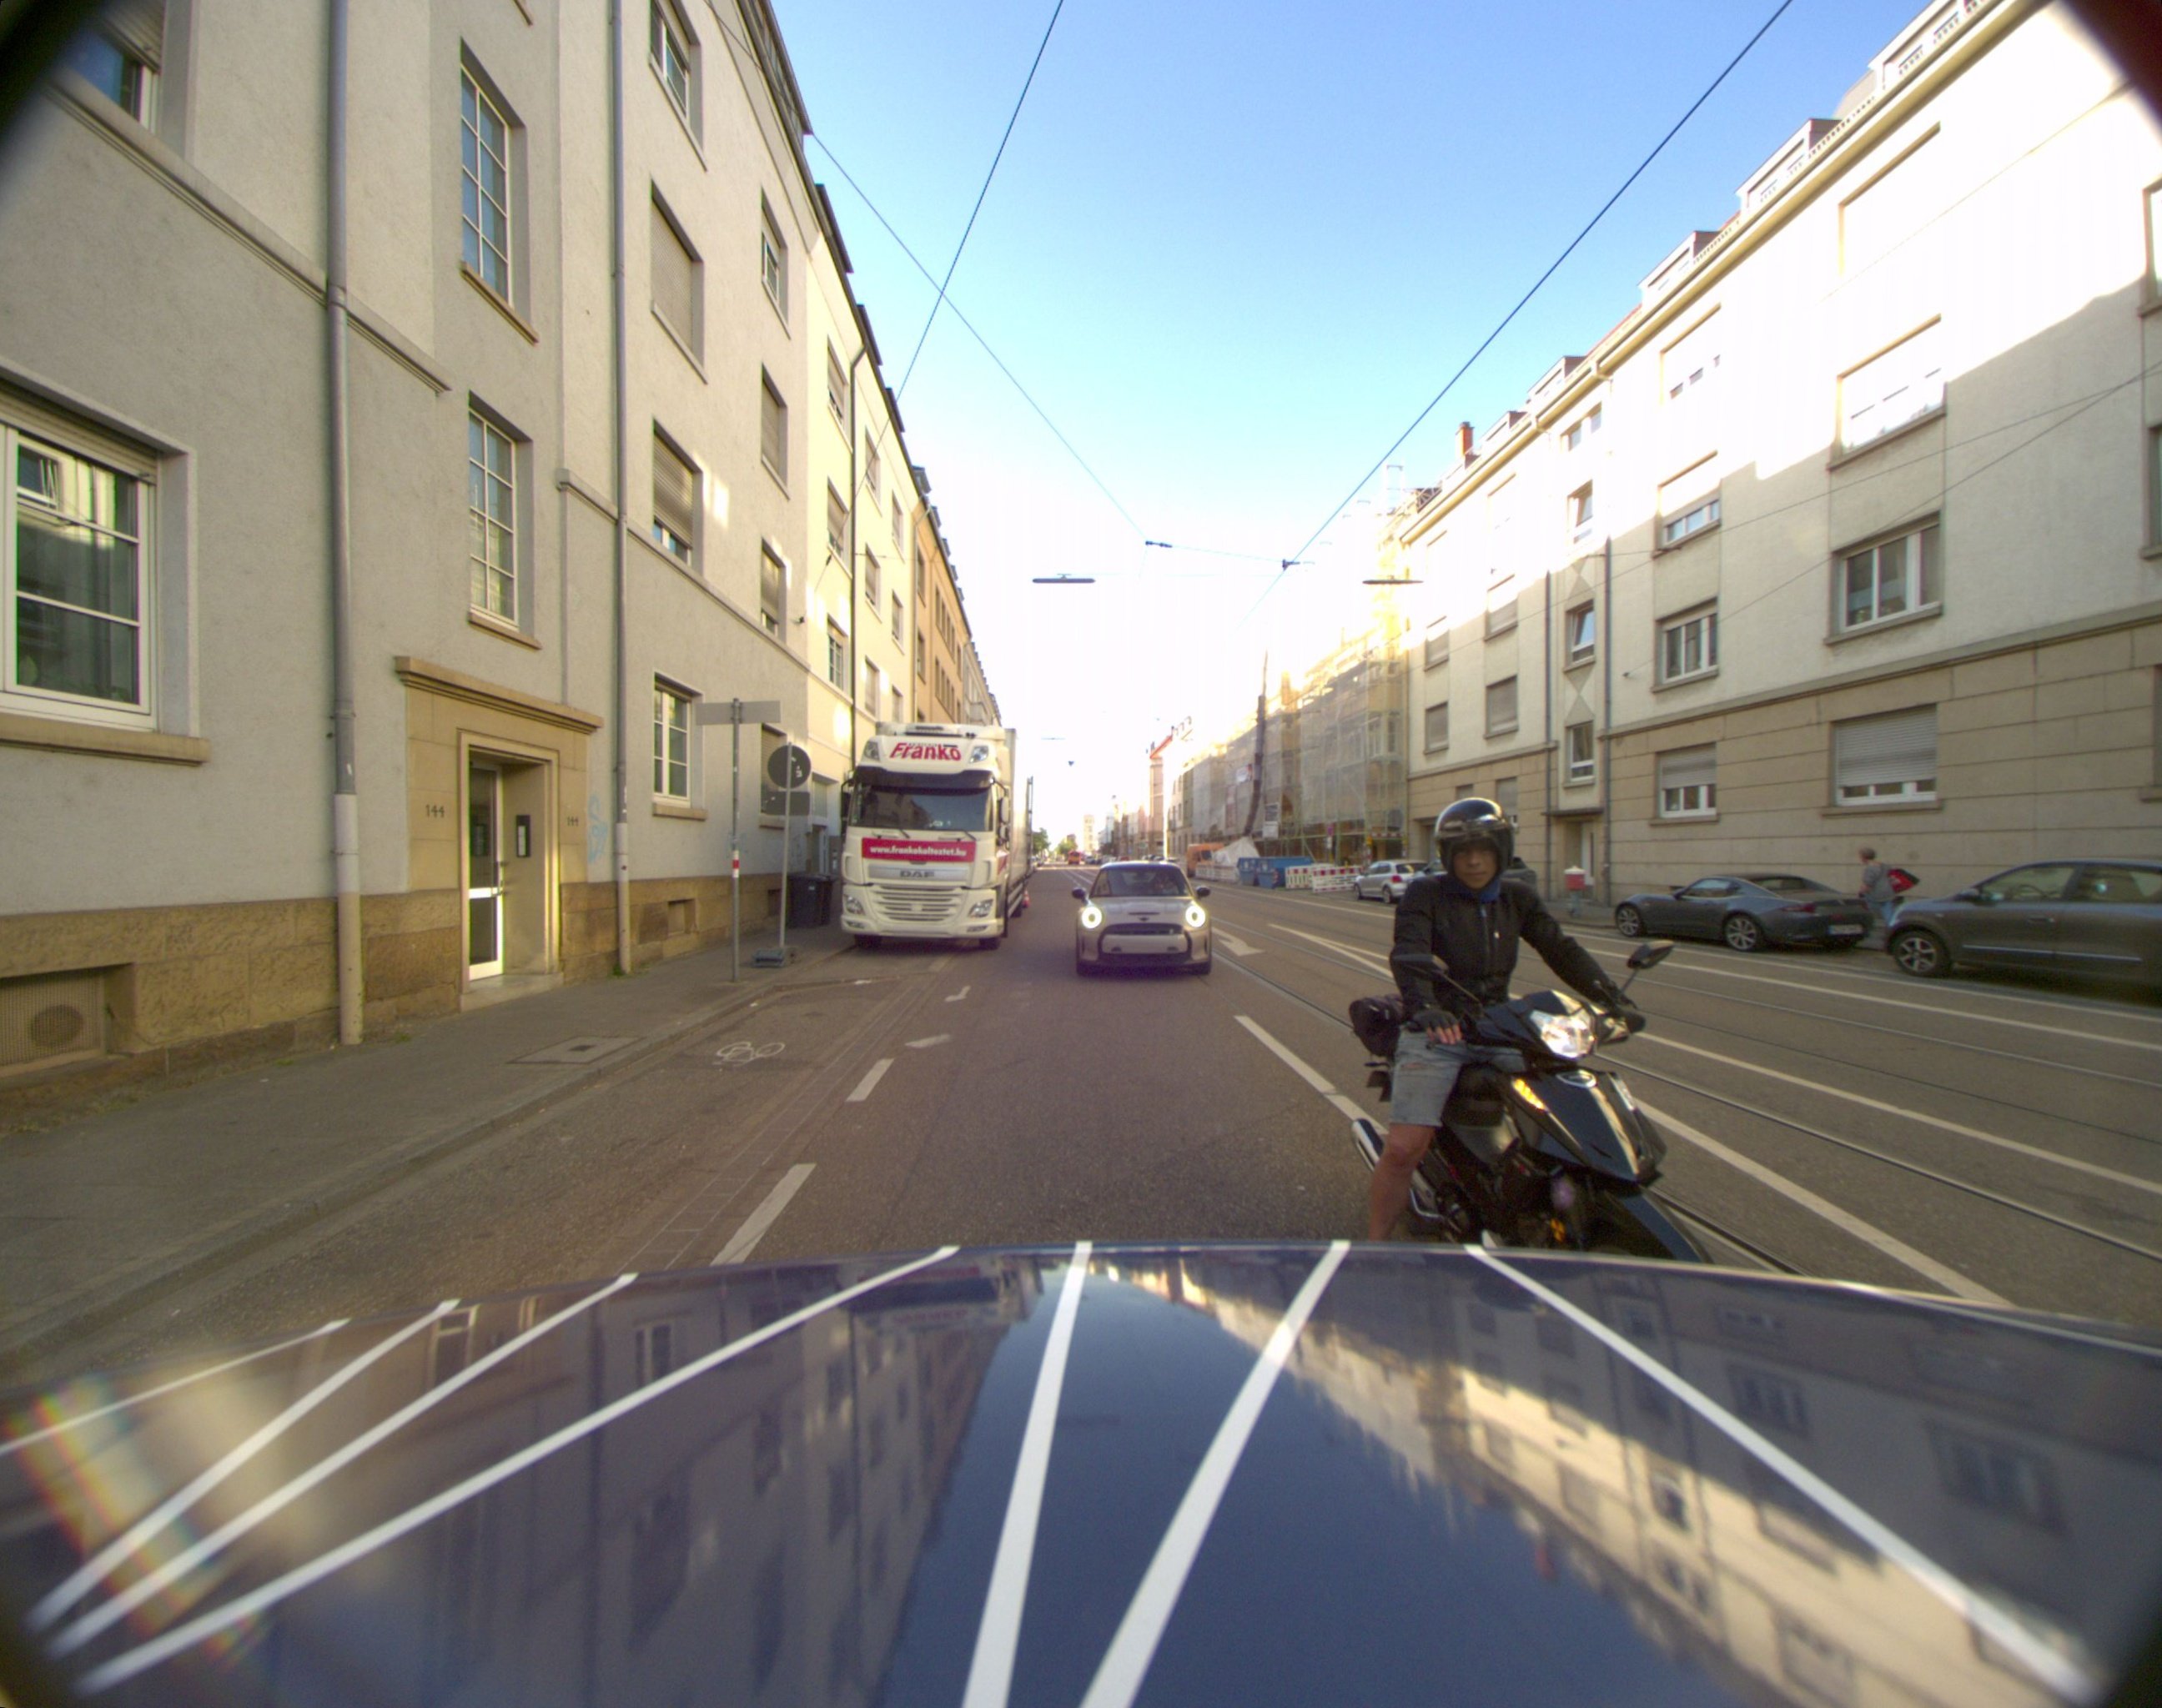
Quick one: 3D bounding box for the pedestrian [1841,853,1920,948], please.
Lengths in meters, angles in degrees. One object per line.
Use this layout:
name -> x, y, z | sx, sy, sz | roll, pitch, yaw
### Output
pedestrian -> 13.198, 0.750, 12.558 | 0.570, 1.532, 0.693 | 0, 1, -2

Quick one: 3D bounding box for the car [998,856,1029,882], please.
car -> -4.172, 0.894, 47.176 | 1.685, 1.522, 4.148 | -2, 0, -3

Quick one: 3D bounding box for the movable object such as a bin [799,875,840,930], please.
movable object such as a bin -> -5.397, 0.997, 15.698 | 0.666, 1.087, 0.570 | 0, 1, -2

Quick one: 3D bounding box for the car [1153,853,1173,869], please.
car -> 8.271, 0.701, 76.798 | 1.684, 1.478, 3.966 | -2, 0, 1

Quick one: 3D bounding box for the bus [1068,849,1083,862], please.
bus -> -1.434, 0.350, 189.826 | 2.755, 3.095, 19.156 | 0, 0, -3

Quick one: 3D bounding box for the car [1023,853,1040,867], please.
car -> -5.346, 0.645, 82.733 | 1.685, 1.522, 4.148 | -2, 0, -3

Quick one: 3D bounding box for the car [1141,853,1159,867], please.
car -> 7.938, 0.649, 87.868 | 1.684, 1.478, 3.966 | -2, 0, 1

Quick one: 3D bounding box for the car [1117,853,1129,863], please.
car -> 6.604, 0.618, 118.623 | 1.684, 1.478, 3.966 | -2, 0, 1

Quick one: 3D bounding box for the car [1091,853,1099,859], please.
car -> 3.544, 0.601, 191.735 | 1.684, 1.478, 3.965 | -2, 0, -1

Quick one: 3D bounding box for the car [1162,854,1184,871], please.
car -> 8.576, 0.757, 71.101 | 1.684, 1.478, 3.966 | -2, 0, 1

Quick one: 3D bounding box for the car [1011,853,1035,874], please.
car -> -4.507, 0.743, 59.147 | 1.685, 1.522, 4.148 | -2, 0, -3

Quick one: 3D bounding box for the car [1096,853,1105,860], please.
car -> 4.266, 0.610, 167.800 | 1.684, 1.478, 3.965 | -2, 0, -1

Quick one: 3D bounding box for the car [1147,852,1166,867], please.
car -> 8.250, 0.612, 83.172 | 1.684, 1.573, 3.966 | -2, 0, 1

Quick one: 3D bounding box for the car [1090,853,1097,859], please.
car -> 3.319, 0.580, 206.878 | 1.684, 1.478, 3.965 | -2, 0, -1

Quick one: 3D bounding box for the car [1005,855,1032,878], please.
car -> -4.299, 0.826, 52.978 | 1.685, 1.522, 4.148 | -2, 0, -3

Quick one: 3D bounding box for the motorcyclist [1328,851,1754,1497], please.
motorcyclist -> 1.311, 0.815, 2.379 | 0.791, 1.645, 0.900 | 0, 1, 1

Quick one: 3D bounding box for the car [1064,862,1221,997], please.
car -> 0.668, 0.890, 10.827 | 1.685, 1.454, 4.148 | -2, 0, -3

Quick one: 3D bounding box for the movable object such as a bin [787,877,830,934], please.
movable object such as a bin -> -5.381, 1.005, 15.029 | 0.666, 1.087, 0.570 | 0, 1, -2

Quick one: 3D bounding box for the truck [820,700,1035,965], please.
truck -> -2.623, -0.322, 17.169 | 2.782, 3.903, 11.816 | 0, 0, -2

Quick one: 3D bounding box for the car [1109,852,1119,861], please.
car -> 5.964, 0.438, 139.332 | 1.684, 1.478, 3.966 | -2, 0, 1

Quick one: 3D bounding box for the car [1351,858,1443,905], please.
car -> 10.613, 0.879, 25.767 | 1.543, 1.404, 3.510 | -1, 0, -3

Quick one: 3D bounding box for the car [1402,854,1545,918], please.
car -> 10.814, 0.803, 21.319 | 1.696, 1.590, 4.206 | -1, 0, -3

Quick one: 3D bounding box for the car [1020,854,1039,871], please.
car -> -4.852, 0.745, 72.087 | 1.685, 1.522, 4.148 | -2, 0, -3

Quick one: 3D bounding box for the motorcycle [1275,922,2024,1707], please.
motorcycle -> 1.311, 0.972, 2.508 | 0.791, 1.284, 2.273 | 0, 0, 1

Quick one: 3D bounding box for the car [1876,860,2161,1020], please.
car -> 11.419, 0.858, 8.308 | 1.679, 1.519, 3.539 | -1, 0, -3

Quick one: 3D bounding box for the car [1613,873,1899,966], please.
car -> 11.182, 0.999, 12.969 | 1.520, 1.227, 3.685 | -1, 0, -3

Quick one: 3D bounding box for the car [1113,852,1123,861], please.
car -> 6.537, 0.459, 134.390 | 1.684, 1.478, 3.966 | -2, 0, 1
